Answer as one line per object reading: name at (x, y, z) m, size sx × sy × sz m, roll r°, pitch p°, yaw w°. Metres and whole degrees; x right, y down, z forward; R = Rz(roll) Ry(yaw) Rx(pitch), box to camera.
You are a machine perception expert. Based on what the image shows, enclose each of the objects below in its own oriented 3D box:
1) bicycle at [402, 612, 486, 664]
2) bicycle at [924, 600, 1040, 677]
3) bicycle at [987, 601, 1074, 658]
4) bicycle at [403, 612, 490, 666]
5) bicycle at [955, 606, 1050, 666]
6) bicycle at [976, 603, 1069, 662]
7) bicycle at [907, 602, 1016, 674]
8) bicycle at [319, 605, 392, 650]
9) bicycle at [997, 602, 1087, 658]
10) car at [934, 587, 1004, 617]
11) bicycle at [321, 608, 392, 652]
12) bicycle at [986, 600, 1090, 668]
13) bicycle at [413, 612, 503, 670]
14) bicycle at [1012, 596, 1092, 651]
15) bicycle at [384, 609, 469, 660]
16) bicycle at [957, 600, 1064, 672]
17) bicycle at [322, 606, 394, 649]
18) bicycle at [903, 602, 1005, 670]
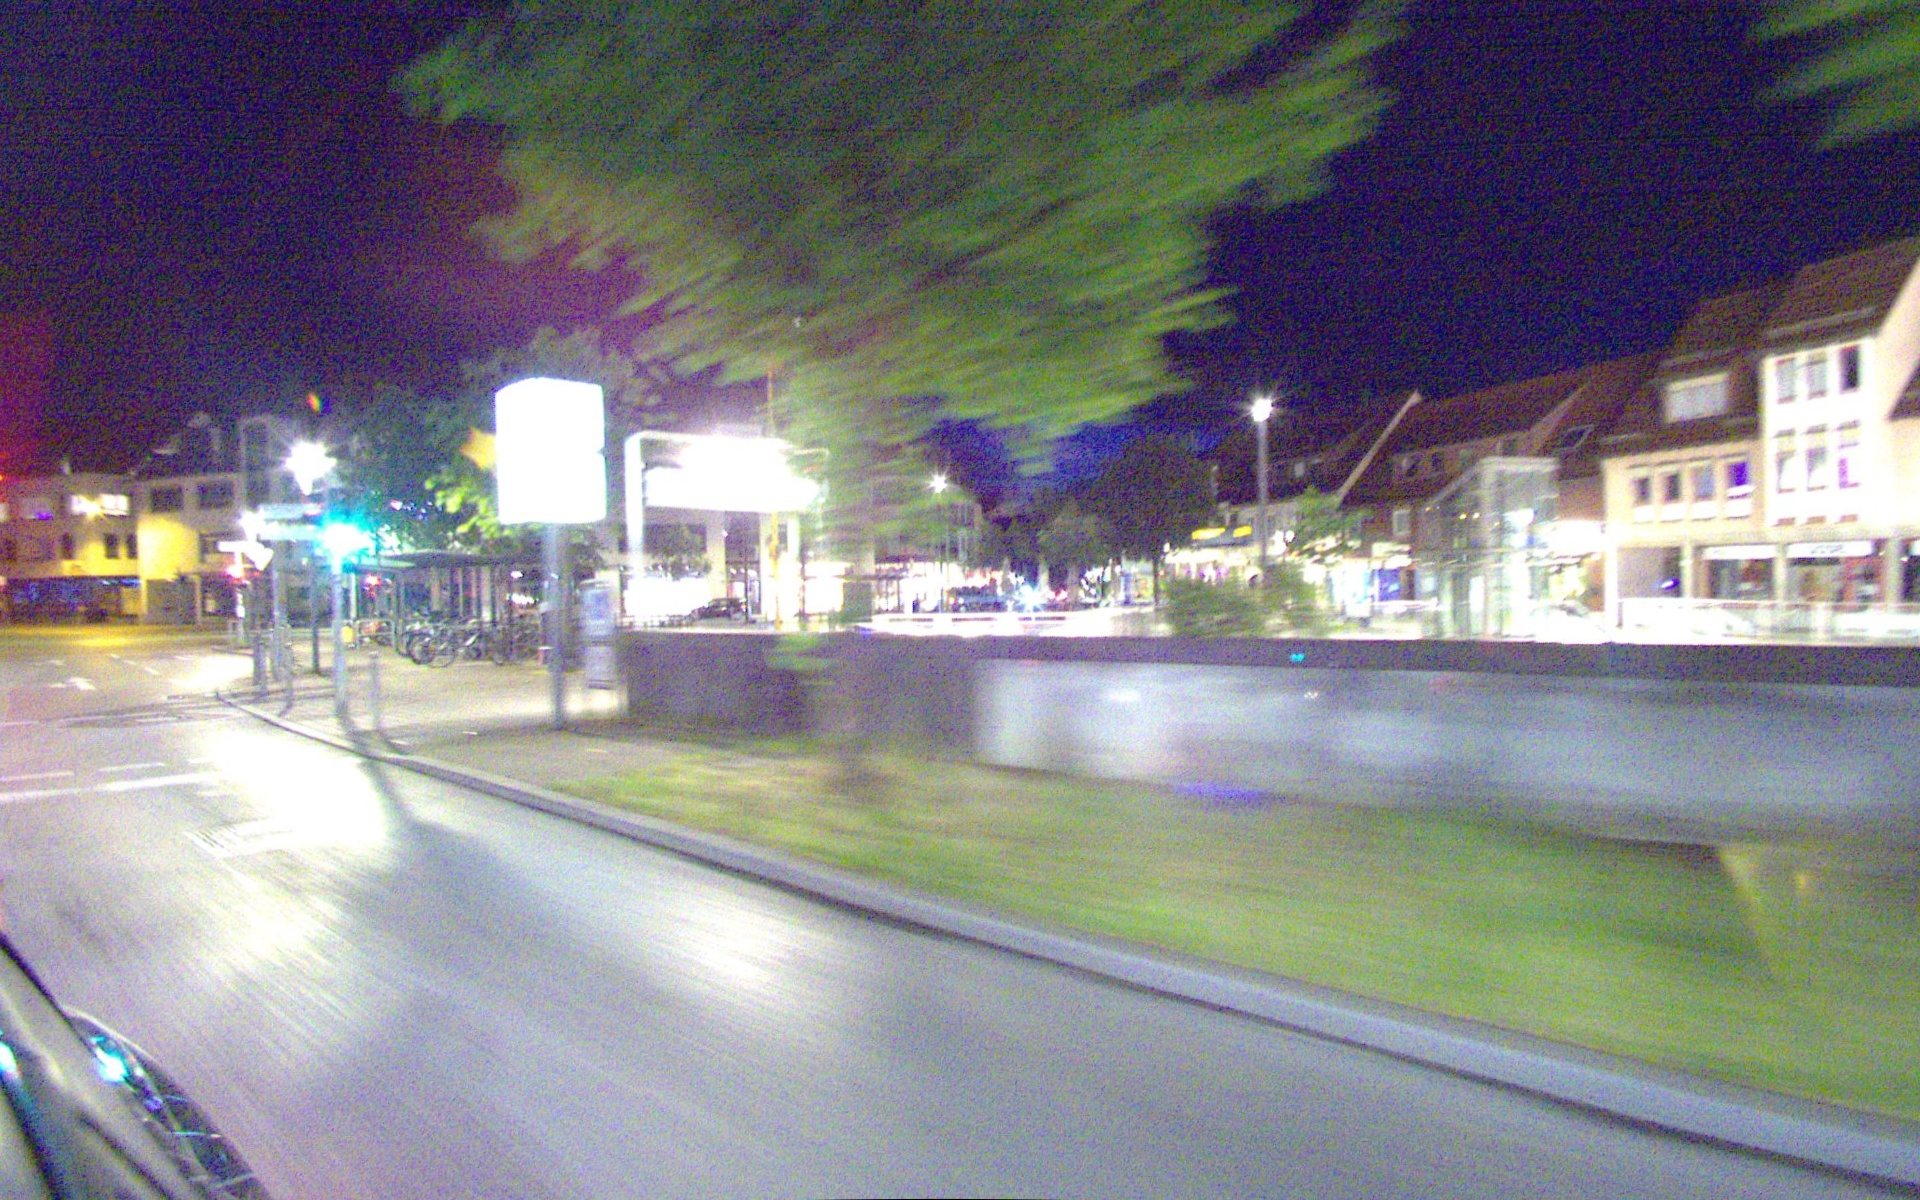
bicycle at (-11.943, 0.855, 23.444) m, size 1.597 × 1.114 × 0.671 m, roll -2°, pitch 2°, yaw -44°
bicycle at (0.364, 0.616, 16.293) m, size 1.730 × 1.171 × 0.758 m, roll -2°, pitch -1°, yaw 15°
bicycle at (1.504, 0.632, 21.649) m, size 1.739 × 1.174 × 0.603 m, roll -2°, pitch -1°, yaw 29°
bicycle at (-11.548, 0.858, 22.778) m, size 1.597 × 1.114 × 0.671 m, roll -2°, pitch 2°, yaw -44°
bicycle at (0.821, 0.683, 19.303) m, size 1.728 × 1.078 × 0.607 m, roll -2°, pitch -1°, yaw 11°
bicycle at (1.228, 0.647, 20.078) m, size 1.739 × 1.133 × 0.603 m, roll -2°, pitch -1°, yaw 29°
bicycle at (0.028, 0.642, 17.108) m, size 1.730 × 1.163 × 0.542 m, roll -2°, pitch -1°, yaw 15°
bicycle at (-17.872, 0.793, 29.942) m, size 1.713 × 1.175 × 0.788 m, roll -5°, pitch 2°, yaw -38°
bicycle at (1.669, 0.626, 20.750) m, size 1.739 × 1.109 × 0.603 m, roll -2°, pitch -1°, yaw 29°
car at (0.617, 0.145, 68.556) m, size 4.342 × 1.951 × 1.967 m, roll -1°, pitch -1°, yaw -29°
bicycle at (-18.345, 0.902, 30.761) m, size 1.713 × 1.166 × 0.788 m, roll -5°, pitch 3°, yaw -38°
bicycle at (1.380, 0.610, 18.086) m, size 1.740 × 1.174 × 0.603 m, roll -2°, pitch -1°, yaw 30°
bicycle at (-10.763, 0.859, 21.720) m, size 1.597 × 1.114 × 0.671 m, roll -2°, pitch 2°, yaw -44°
bicycle at (2.123, 0.554, 23.476) m, size 1.739 × 1.228 × 0.603 m, roll -2°, pitch -1°, yaw 29°
bicycle at (-13.211, 0.832, 25.093) m, size 1.748 × 1.173 × 0.671 m, roll -1°, pitch 1°, yaw -44°
bicycle at (0.870, 0.618, 17.390) m, size 1.730 × 1.174 × 0.606 m, roll -2°, pitch -1°, yaw 15°
bicycle at (-19.061, 0.857, 32.069) m, size 1.811 × 1.166 × 0.788 m, roll -5°, pitch 3°, yaw -38°
bicycle at (-0.112, 0.656, 18.283) m, size 1.730 × 1.174 × 0.606 m, roll -2°, pitch -1°, yaw 15°
